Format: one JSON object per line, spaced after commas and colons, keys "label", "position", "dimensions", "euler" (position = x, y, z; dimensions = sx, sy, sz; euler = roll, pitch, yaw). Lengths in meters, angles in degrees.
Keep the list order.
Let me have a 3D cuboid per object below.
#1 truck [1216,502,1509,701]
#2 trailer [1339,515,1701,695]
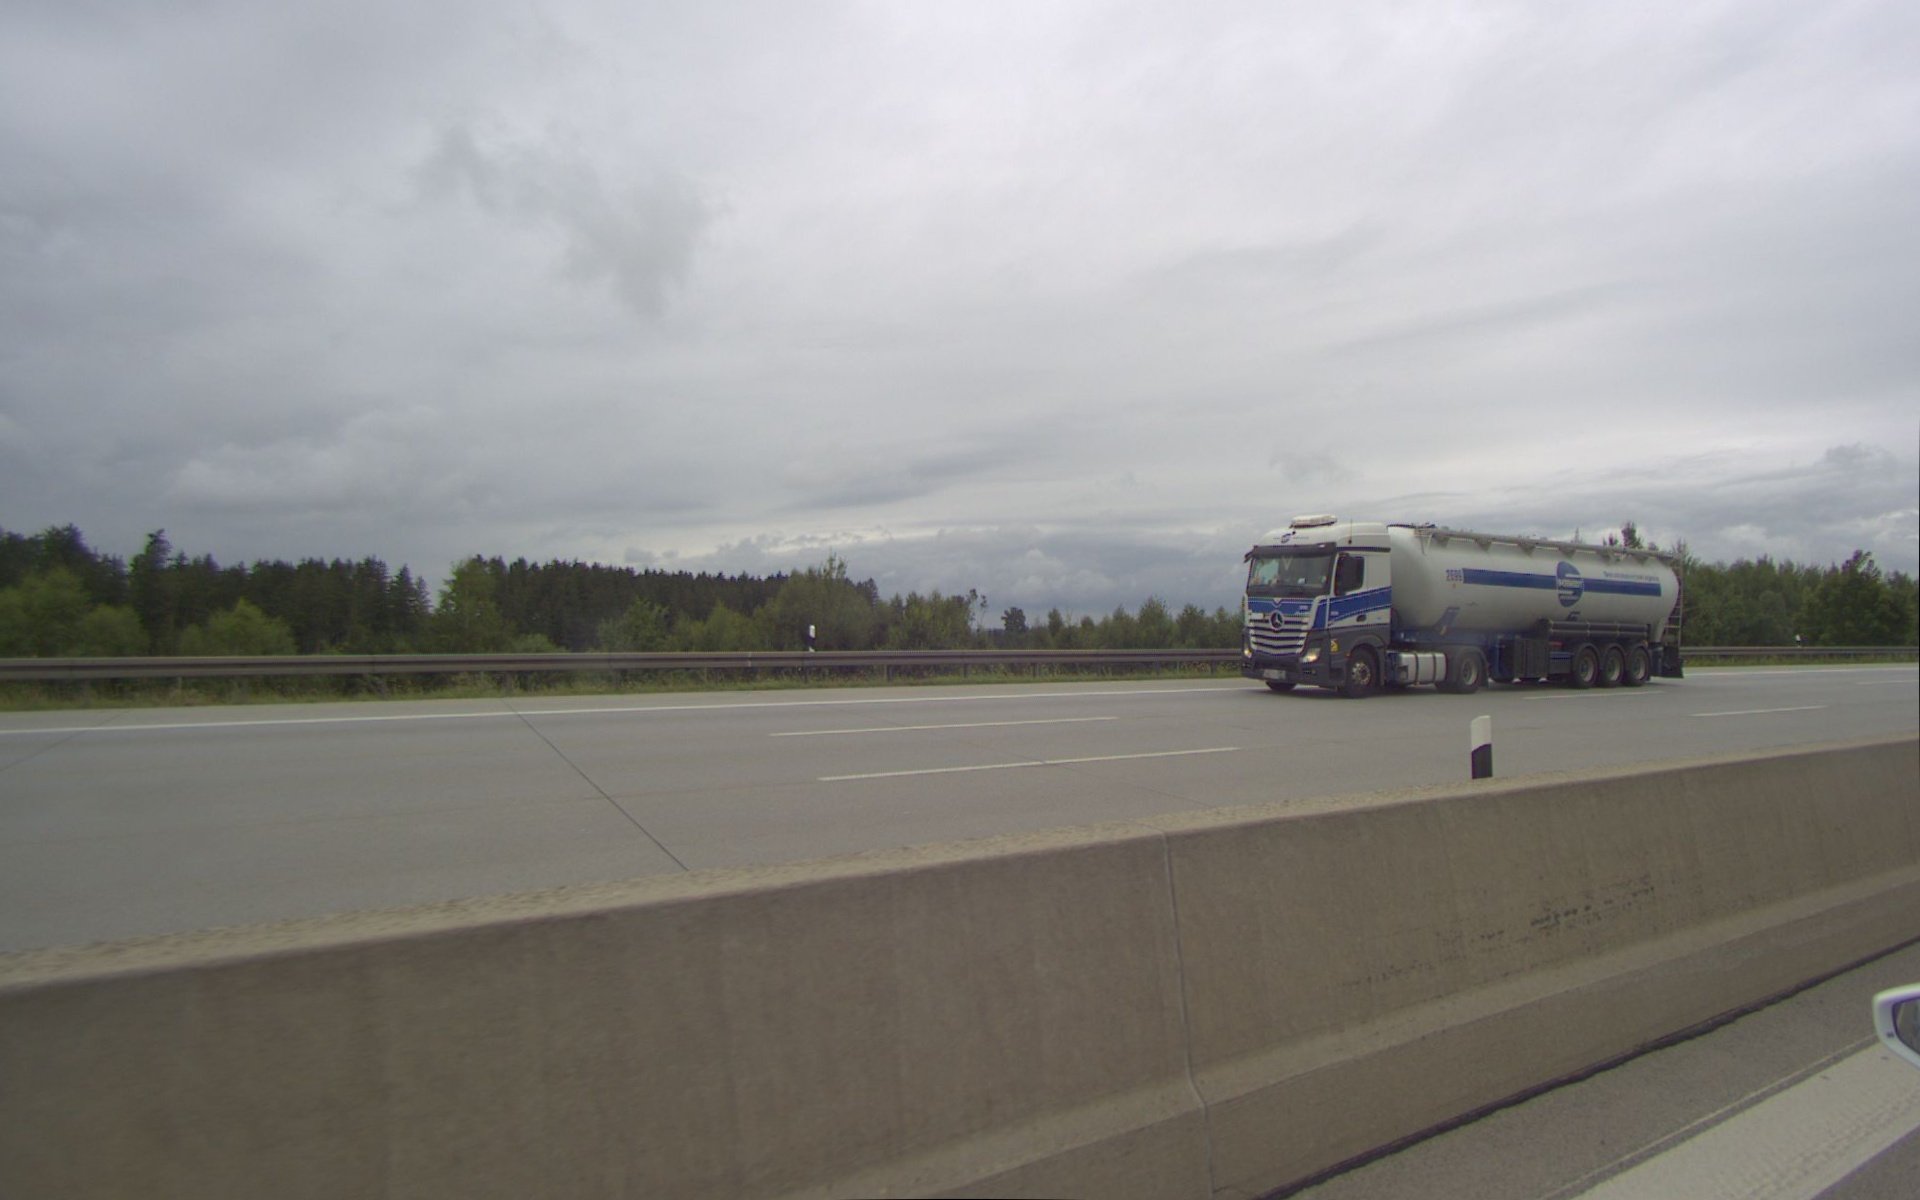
{"label": "truck", "position": [9.436, 0.076, 23.351], "dimensions": [6.851, 4.052, 2.732], "euler": [1, 0, -31]}
{"label": "trailer", "position": [15.362, 0.185, 26.923], "dimensions": [12.147, 4.052, 2.745], "euler": [1, 0, -31]}
